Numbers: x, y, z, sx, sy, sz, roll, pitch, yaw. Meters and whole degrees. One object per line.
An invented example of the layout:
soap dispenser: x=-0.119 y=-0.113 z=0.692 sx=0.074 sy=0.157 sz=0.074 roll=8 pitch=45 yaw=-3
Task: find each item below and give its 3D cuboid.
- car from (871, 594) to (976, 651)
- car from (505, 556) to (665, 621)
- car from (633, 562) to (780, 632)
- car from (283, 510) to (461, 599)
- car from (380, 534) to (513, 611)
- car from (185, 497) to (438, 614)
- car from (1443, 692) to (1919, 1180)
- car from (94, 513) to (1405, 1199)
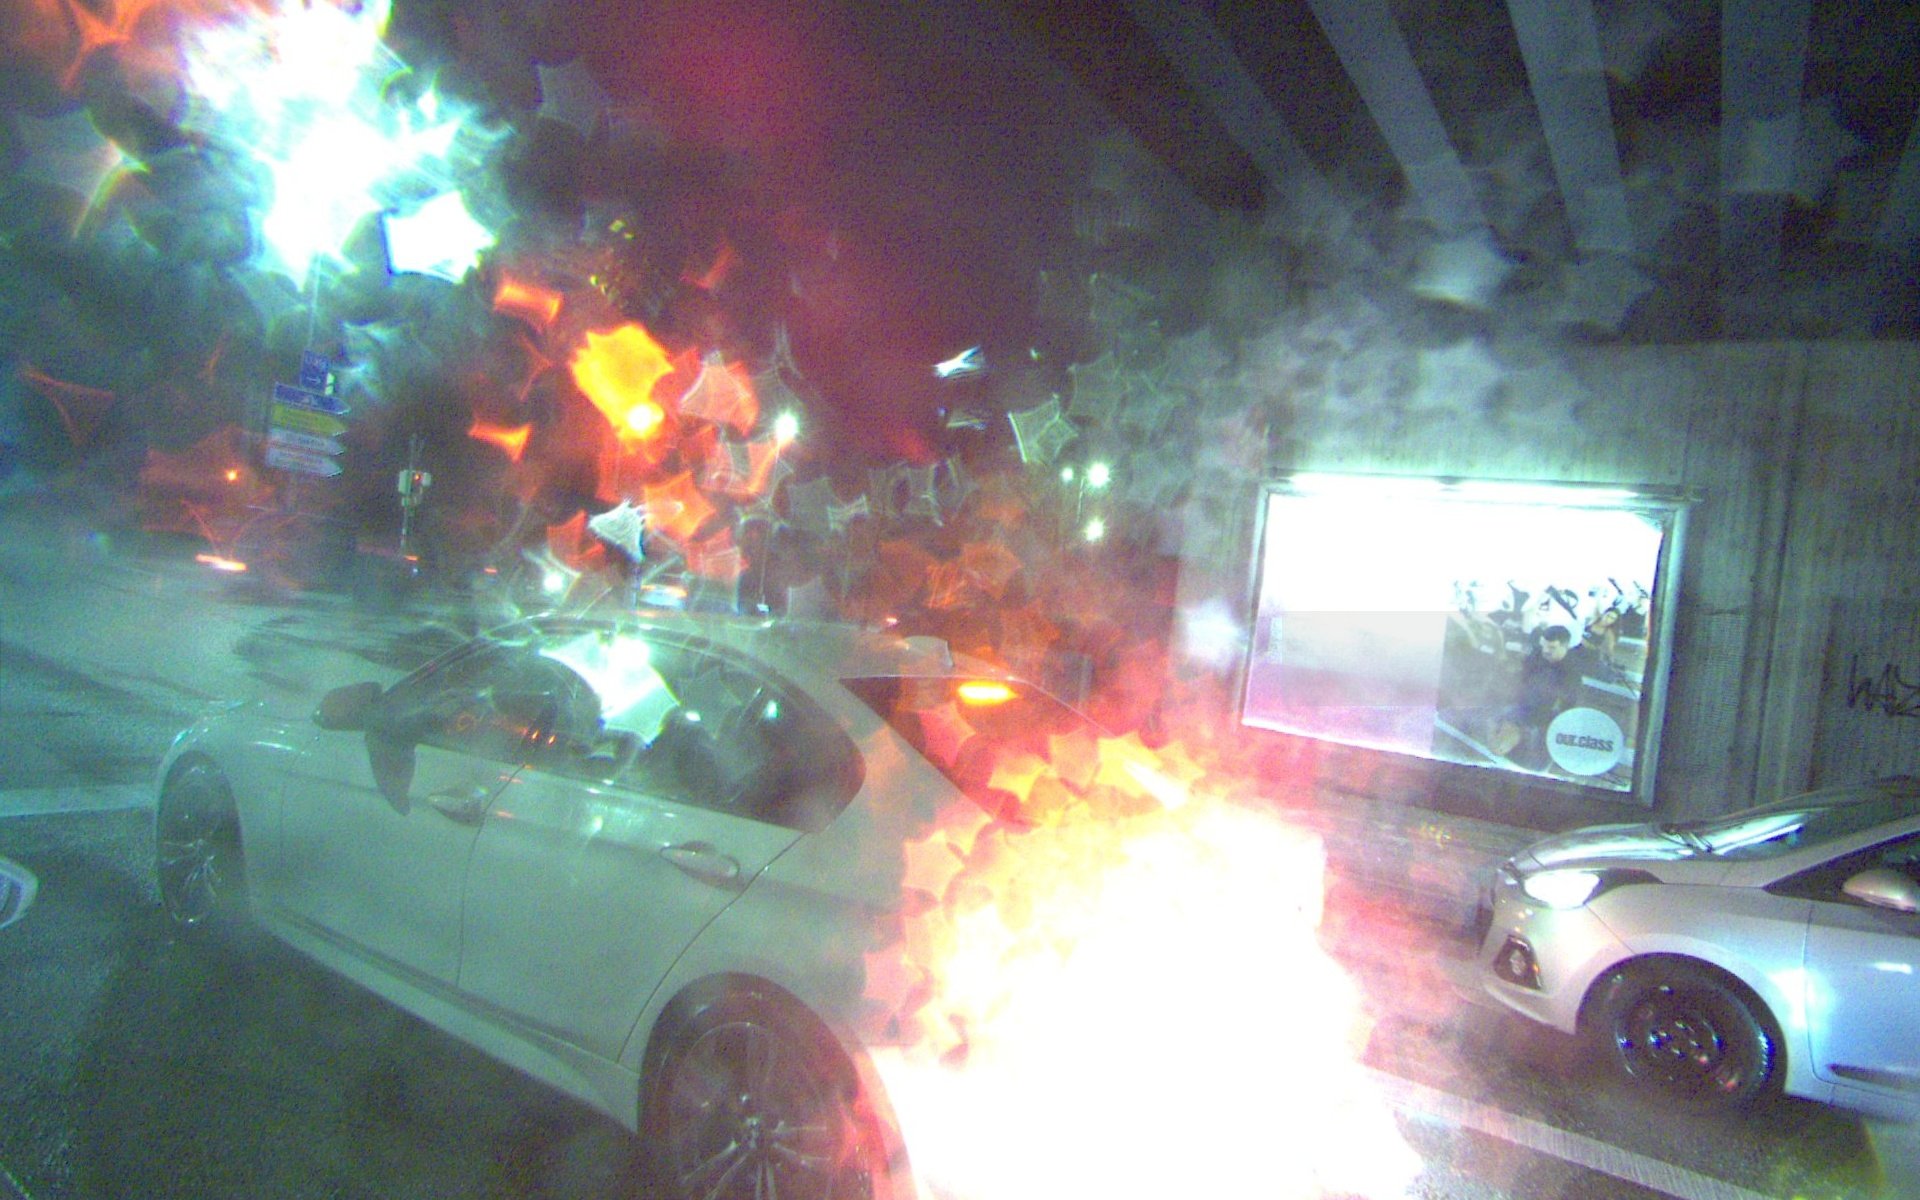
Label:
car: x=-1.281 y=0.897 z=37.703 sx=1.805 sy=1.668 sz=4.424 roll=6 pitch=-2 yaw=29
car: x=-12.926 y=-0.365 z=34.955 sx=1.826 sy=1.609 sz=4.850 roll=6 pitch=-2 yaw=38
car: x=-8.099 y=-0.054 z=32.545 sx=1.810 sy=1.691 sz=4.454 roll=6 pitch=-2 yaw=33
car: x=-17.403 y=-1.309 z=29.927 sx=1.970 sy=2.037 sz=3.987 roll=6 pitch=-2 yaw=38
car: x=-18.514 y=-0.965 z=36.305 sx=3.622 sy=2.241 sz=2.188 roll=8 pitch=-2 yaw=-44
car: x=-12.754 y=-0.833 z=19.973 sx=1.697 sy=1.754 sz=3.752 roll=6 pitch=-2 yaw=38
car: x=4.315 y=1.399 z=3.983 sx=4.092 sy=1.465 sz=1.722 roll=6 pitch=1 yaw=31
car: x=-0.969 y=0.647 z=3.479 sx=4.309 sy=1.465 sz=1.722 roll=6 pitch=1 yaw=31
